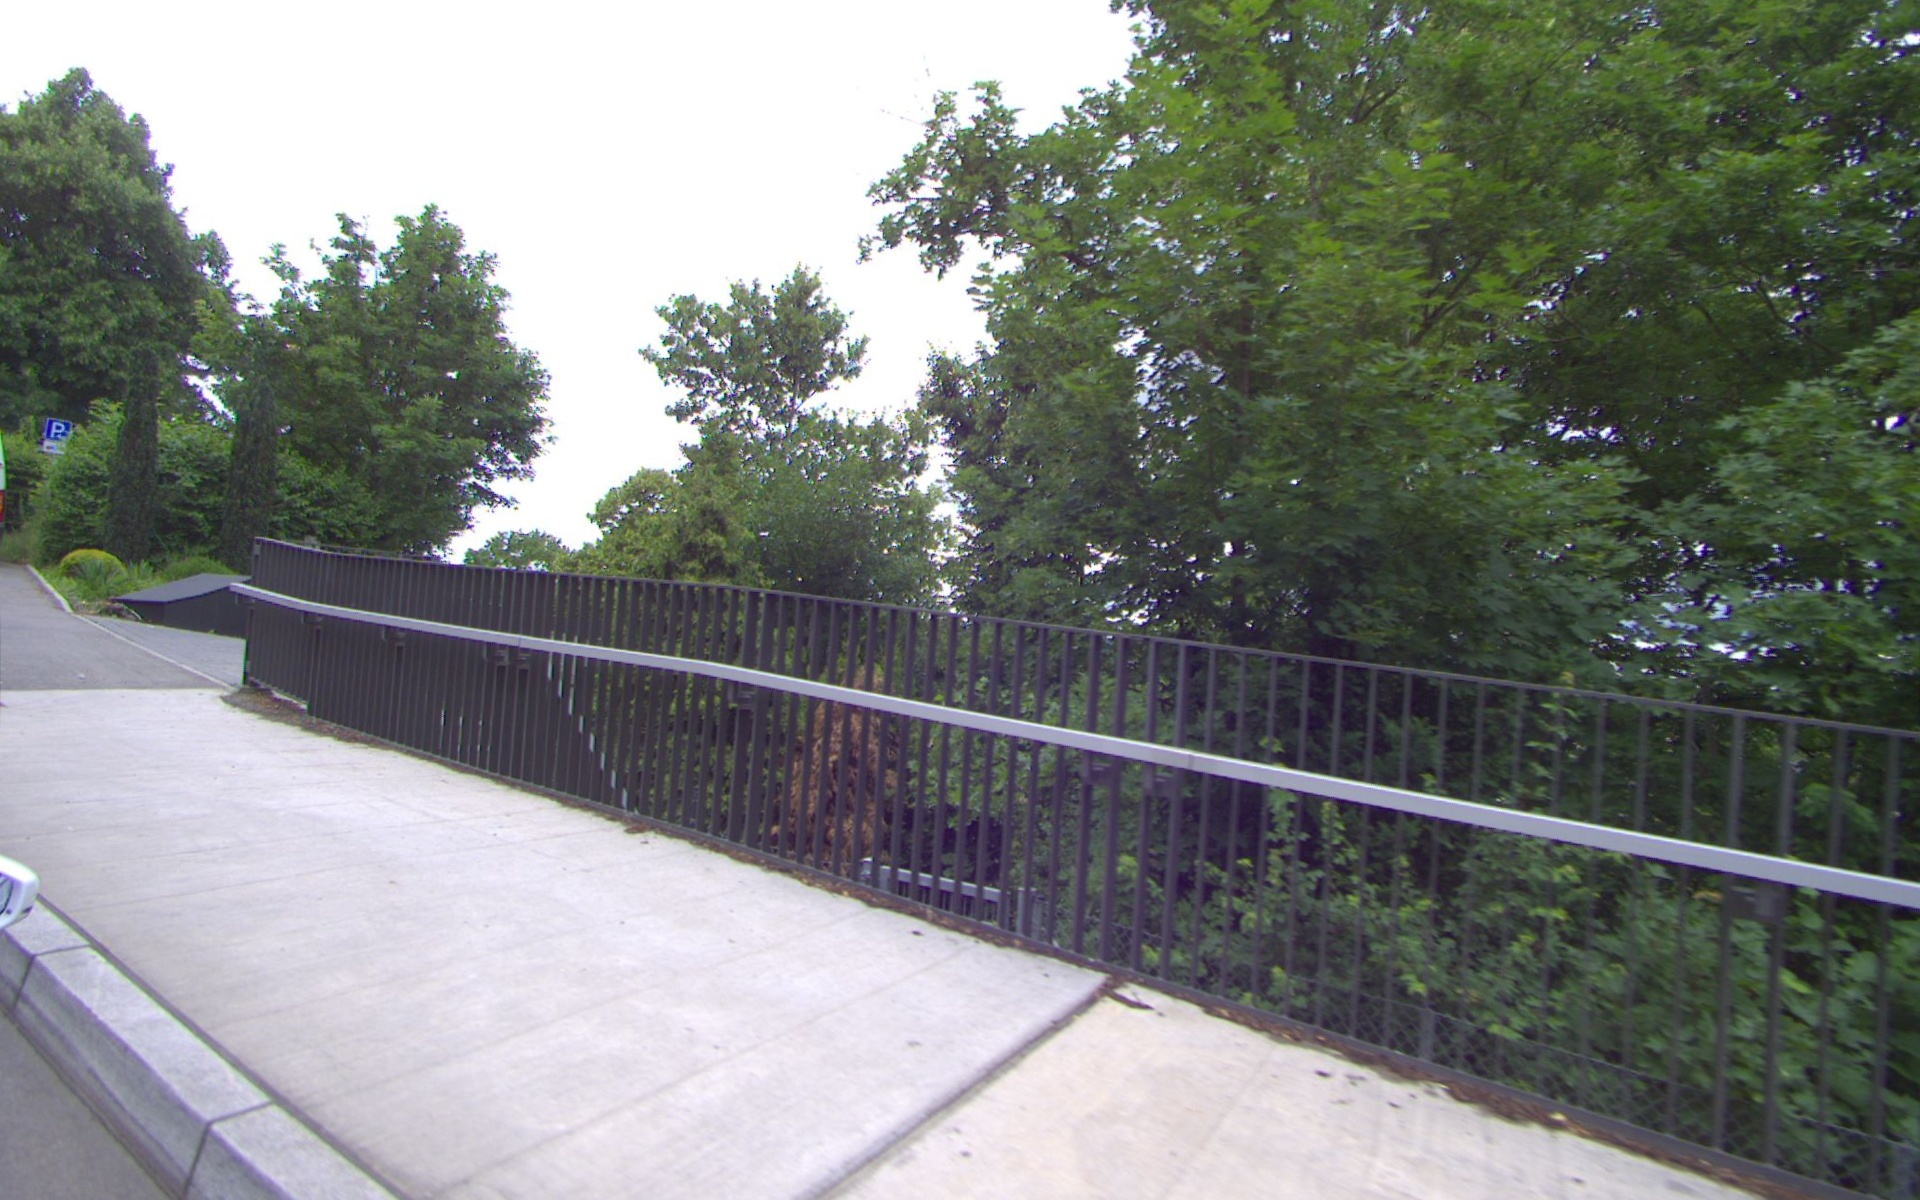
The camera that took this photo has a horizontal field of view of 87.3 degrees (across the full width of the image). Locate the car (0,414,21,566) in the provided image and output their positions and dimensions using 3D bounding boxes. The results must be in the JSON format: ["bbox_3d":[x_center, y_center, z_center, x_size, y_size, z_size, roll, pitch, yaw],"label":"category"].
[{"bbox_3d":[-19.058,-2.161,18.366,5.762,2.555,2.081,6,1,41],"label":"car"}]
